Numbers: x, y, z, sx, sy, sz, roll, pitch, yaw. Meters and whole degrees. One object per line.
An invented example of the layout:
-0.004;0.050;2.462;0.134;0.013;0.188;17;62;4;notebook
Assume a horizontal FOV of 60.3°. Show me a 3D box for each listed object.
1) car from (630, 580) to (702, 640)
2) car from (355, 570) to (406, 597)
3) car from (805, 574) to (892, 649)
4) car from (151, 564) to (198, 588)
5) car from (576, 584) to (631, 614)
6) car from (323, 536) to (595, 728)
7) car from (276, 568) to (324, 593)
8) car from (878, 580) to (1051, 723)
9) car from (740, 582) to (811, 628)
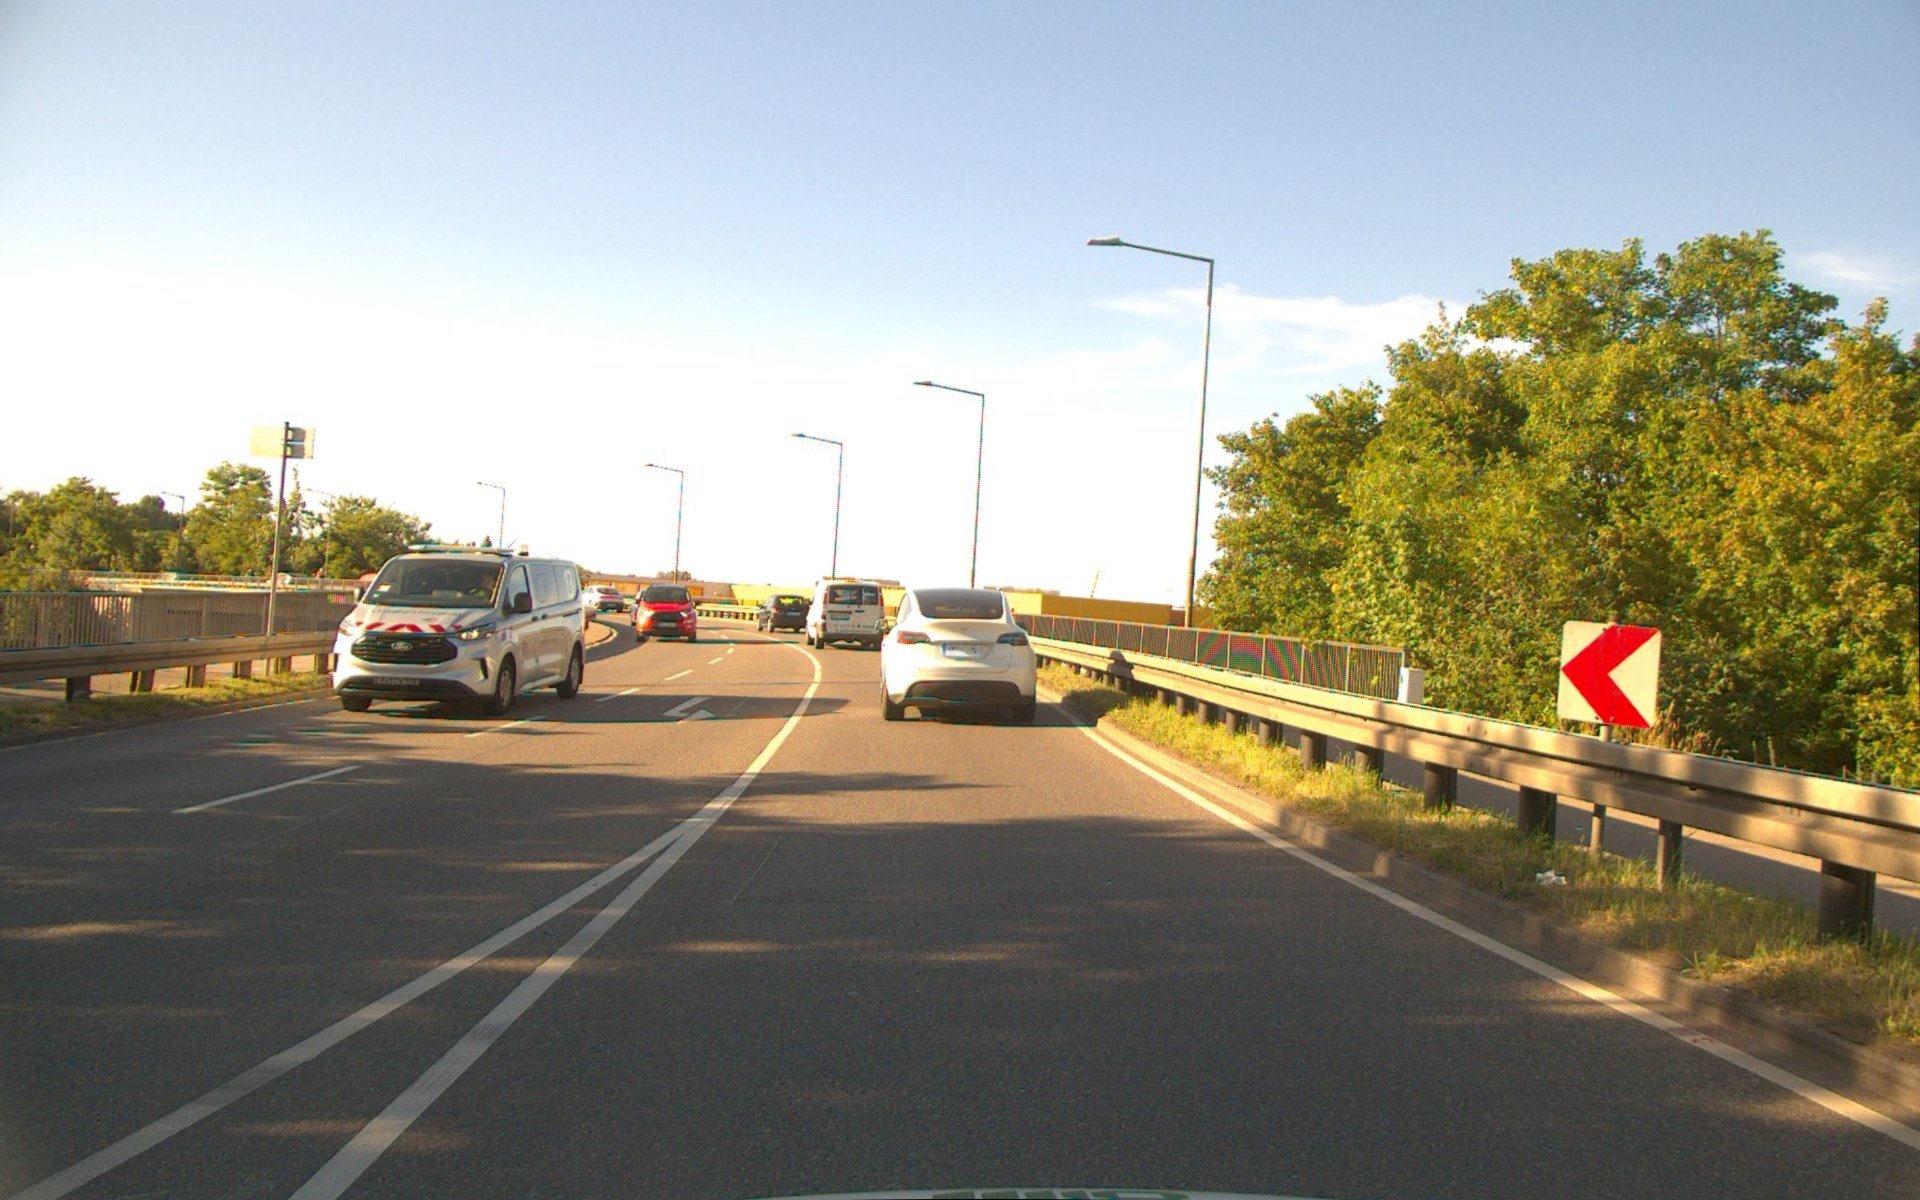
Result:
-8.669;0.275;49.072;1.769;1.666;3.995;2;0;-6;car
-45.102;-1.311;128.745;3.925;1.984;1.953;2;0;39;car
-3.194;0.298;46.635;1.969;1.974;4.457;2;0;-10;car
-69.741;-2.123;146.907;3.916;1.984;1.957;2;0;32;car
-20.578;-0.070;95.373;1.841;1.612;3.871;2;0;-32;car
-6.341;0.359;21.635;1.909;2.149;5.270;1;0;0;car
-54.700;-1.639;137.081;3.922;1.984;1.954;2;0;37;car
-0.044;0.600;21.472;1.946;1.666;4.059;1;0;-4;car
-6.925;0.181;61.813;1.938;1.666;3.981;1;0;-17;car
